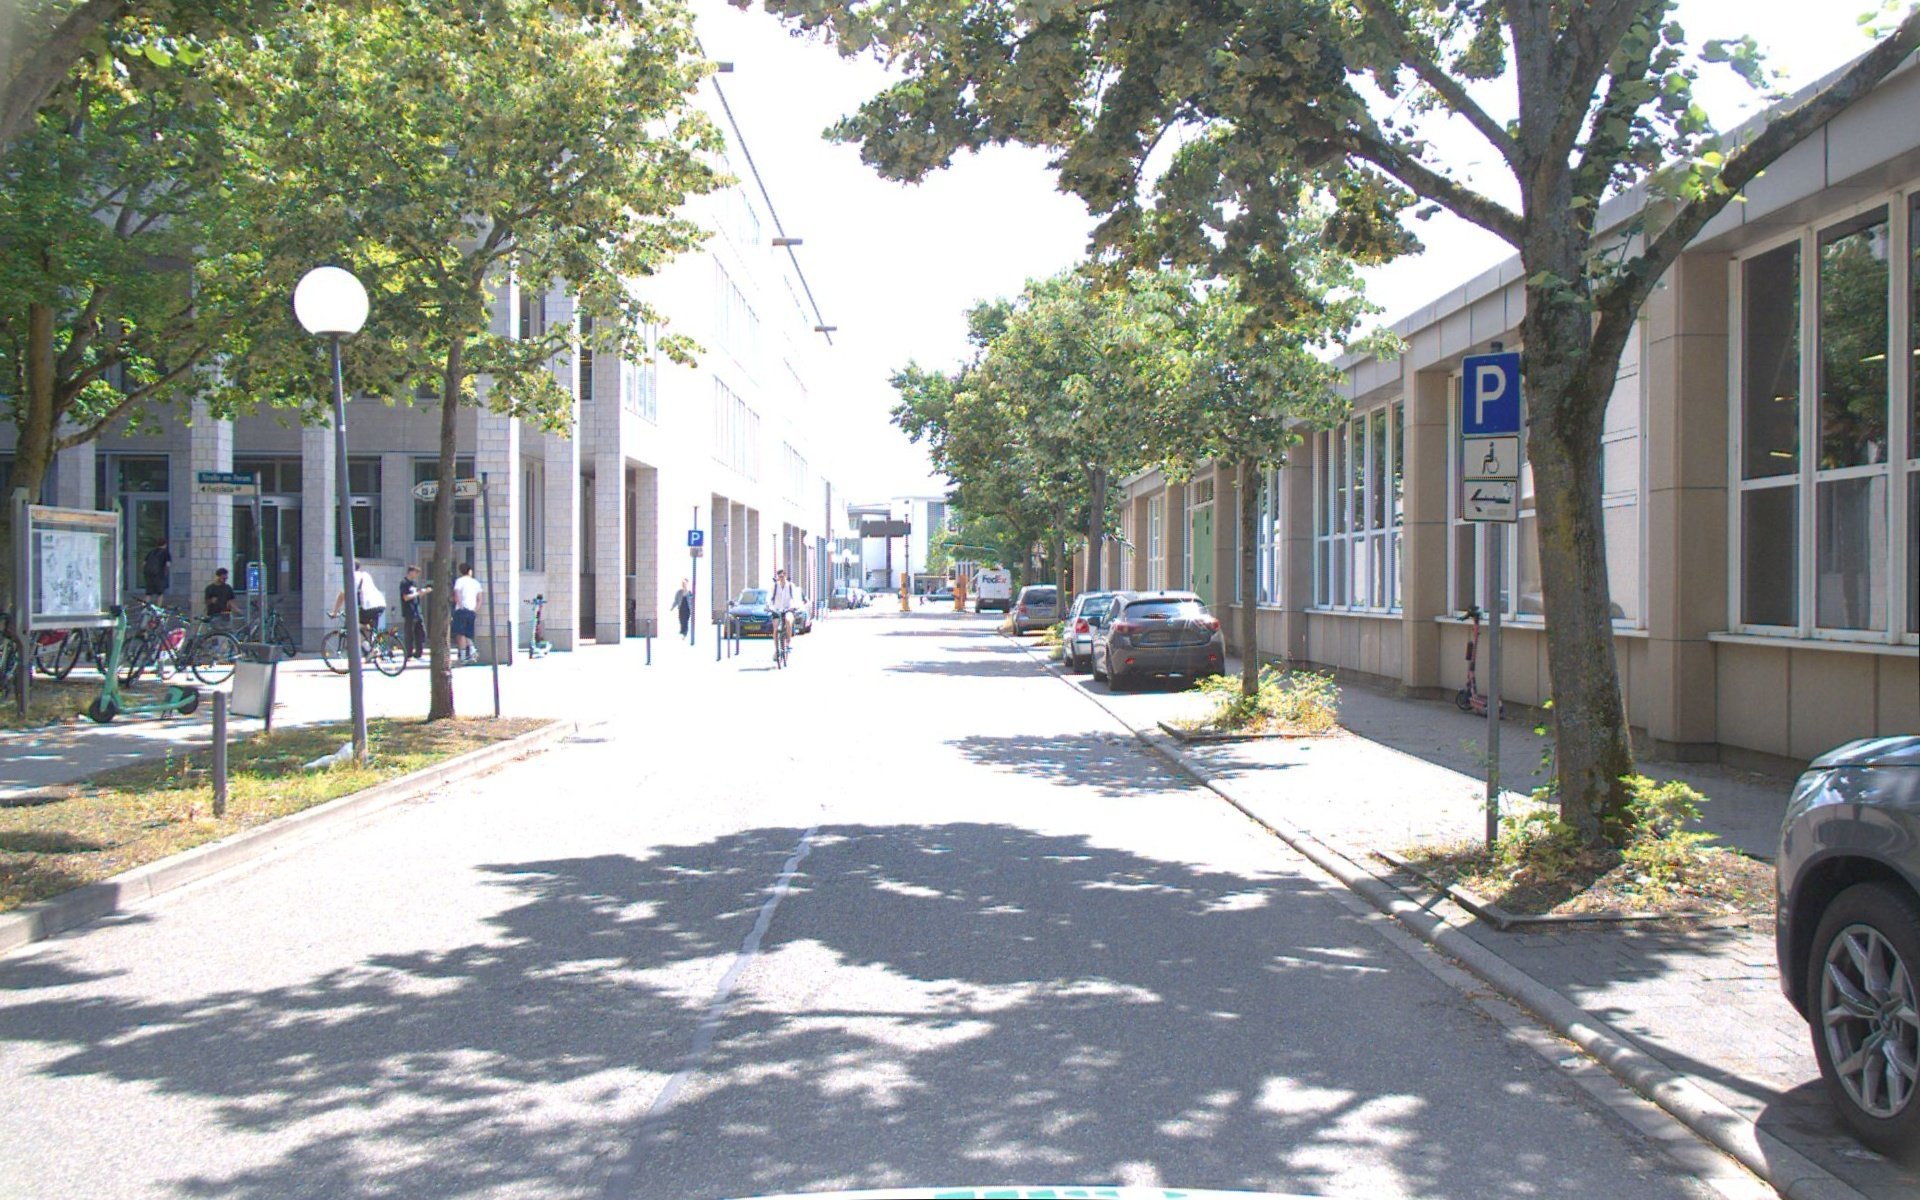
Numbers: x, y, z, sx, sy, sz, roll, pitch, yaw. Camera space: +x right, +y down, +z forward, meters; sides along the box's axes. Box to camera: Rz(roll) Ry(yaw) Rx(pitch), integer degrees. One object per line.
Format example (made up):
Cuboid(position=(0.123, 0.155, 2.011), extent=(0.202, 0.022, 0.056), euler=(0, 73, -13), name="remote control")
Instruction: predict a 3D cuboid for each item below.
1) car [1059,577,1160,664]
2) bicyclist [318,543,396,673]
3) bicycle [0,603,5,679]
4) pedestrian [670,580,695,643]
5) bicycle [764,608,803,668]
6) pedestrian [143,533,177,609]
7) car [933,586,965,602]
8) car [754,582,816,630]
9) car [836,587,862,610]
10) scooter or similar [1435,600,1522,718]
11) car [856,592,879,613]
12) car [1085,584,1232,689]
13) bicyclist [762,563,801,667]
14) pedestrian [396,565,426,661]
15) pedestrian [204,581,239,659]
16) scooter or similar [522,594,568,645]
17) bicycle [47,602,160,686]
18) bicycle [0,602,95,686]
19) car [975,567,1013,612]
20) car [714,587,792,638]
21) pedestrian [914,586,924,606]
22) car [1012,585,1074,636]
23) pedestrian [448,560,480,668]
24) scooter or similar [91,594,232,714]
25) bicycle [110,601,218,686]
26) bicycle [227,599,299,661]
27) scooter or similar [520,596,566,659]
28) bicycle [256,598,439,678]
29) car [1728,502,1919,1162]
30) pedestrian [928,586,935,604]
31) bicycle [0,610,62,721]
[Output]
Cuboid(position=(2.834, 0.365, 31.935), extent=(1.583, 1.565, 3.779), euler=(0, 0, 0), name="car")
Cuboid(position=(-9.694, 0.121, 26.600), extent=(0.829, 2.049, 0.877), euler=(1, 0, 10), name="bicyclist")
Cuboid(position=(-14.207, 0.599, 23.133), extent=(0.540, 1.105, 1.973), euler=(2, 0, -1), name="bicycle")
Cuboid(position=(-7.759, 0.308, 46.253), extent=(0.638, 1.731, 0.887), euler=(1, 0, -11), name="pedestrian")
Cuboid(position=(-3.564, 0.752, 33.525), extent=(0.671, 1.149, 1.887), euler=(0, 0, -3), name="bicycle")
Cuboid(position=(-18.130, -0.654, 37.471), extent=(0.627, 1.690, 0.687), euler=(0, 0, -32), name="pedestrian")
Cuboid(position=(-1.244, -0.647, 182.534), extent=(3.423, 1.727, 1.438), euler=(1, 0, -2), name="car")
Cuboid(position=(-5.781, 0.193, 54.981), extent=(1.597, 1.511, 4.177), euler=(0, 0, 0), name="car")
Cuboid(position=(-7.735, -0.072, 115.191), extent=(1.612, 1.524, 3.727), euler=(0, -2, -1), name="car")
Cuboid(position=(5.918, 0.649, 18.944), extent=(0.500, 1.271, 1.485), euler=(-1, 0, -1), name="scooter or similar")
Cuboid(position=(-7.064, 0.234, 127.003), extent=(1.612, 1.524, 3.727), euler=(0, -2, -1), name="car")
Cuboid(position=(3.088, 0.523, 26.569), extent=(1.744, 1.502, 4.461), euler=(-1, 0, -1), name="car")
Cuboid(position=(-3.589, 0.302, 33.317), extent=(0.697, 2.049, 1.018), euler=(-1, 0, -3), name="bicyclist")
Cuboid(position=(-10.413, 0.242, 31.358), extent=(0.436, 1.806, 0.446), euler=(1, 0, -31), name="pedestrian")
Cuboid(position=(-13.609, 0.363, 30.497), extent=(0.457, 1.407, 0.443), euler=(-1, 3, -11), name="pedestrian")
Cuboid(position=(-10.260, 0.479, 40.847), extent=(0.521, 1.231, 1.537), euler=(0, 0, -38), name="scooter or similar")
Cuboid(position=(-11.991, 0.591, 23.215), extent=(0.540, 1.105, 1.973), euler=(2, 0, -1), name="bicycle")
Cuboid(position=(-13.085, 0.604, 23.492), extent=(0.540, 1.105, 1.973), euler=(2, 0, -1), name="bicycle")
Cuboid(position=(1.974, -0.624, 97.949), extent=(2.041, 2.584, 4.315), euler=(1, 0, -1), name="car")
Cuboid(position=(-6.142, 0.370, 49.555), extent=(1.730, 1.452, 4.235), euler=(0, 0, 1), name="car")
Cuboid(position=(-3.528, -0.367, 142.032), extent=(0.761, 1.708, 0.504), euler=(1, 0, 0), name="pedestrian")
Cuboid(position=(2.695, 0.321, 54.430), extent=(1.820, 1.601, 4.000), euler=(-1, 0, 0), name="car")
Cuboid(position=(-9.207, 0.249, 30.676), extent=(0.408, 1.975, 0.656), euler=(1, 0, -30), name="pedestrian")
Cuboid(position=(-8.310, 0.543, 17.255), extent=(0.333, 1.196, 1.324), euler=(1, 0, 34), name="scooter or similar")
Cuboid(position=(-11.057, 0.582, 23.038), extent=(0.540, 1.105, 1.973), euler=(2, 0, -1), name="bicycle")
Cuboid(position=(-12.970, 0.544, 30.836), extent=(0.455, 1.032, 1.866), euler=(2, 2, 3), name="bicycle")
Cuboid(position=(-8.404, 0.539, 33.364), extent=(0.445, 1.245, 1.549), euler=(0, 0, 3), name="scooter or similar")
Cuboid(position=(-9.852, 0.591, 26.627), extent=(2.682, 1.220, 0.886), euler=(1, 0, 10), name="bicycle")
Cuboid(position=(3.402, 0.570, 2.922), extent=(1.786, 1.693, 4.581), euler=(-1, -1, -2), name="car")
Cuboid(position=(-2.684, -0.469, 157.495), extent=(0.594, 1.647, 0.682), euler=(1, 0, -2), name="pedestrian")
Cuboid(position=(-9.603, 0.639, 16.788), extent=(0.375, 1.043, 1.809), euler=(0, 0, -13), name="bicycle")
